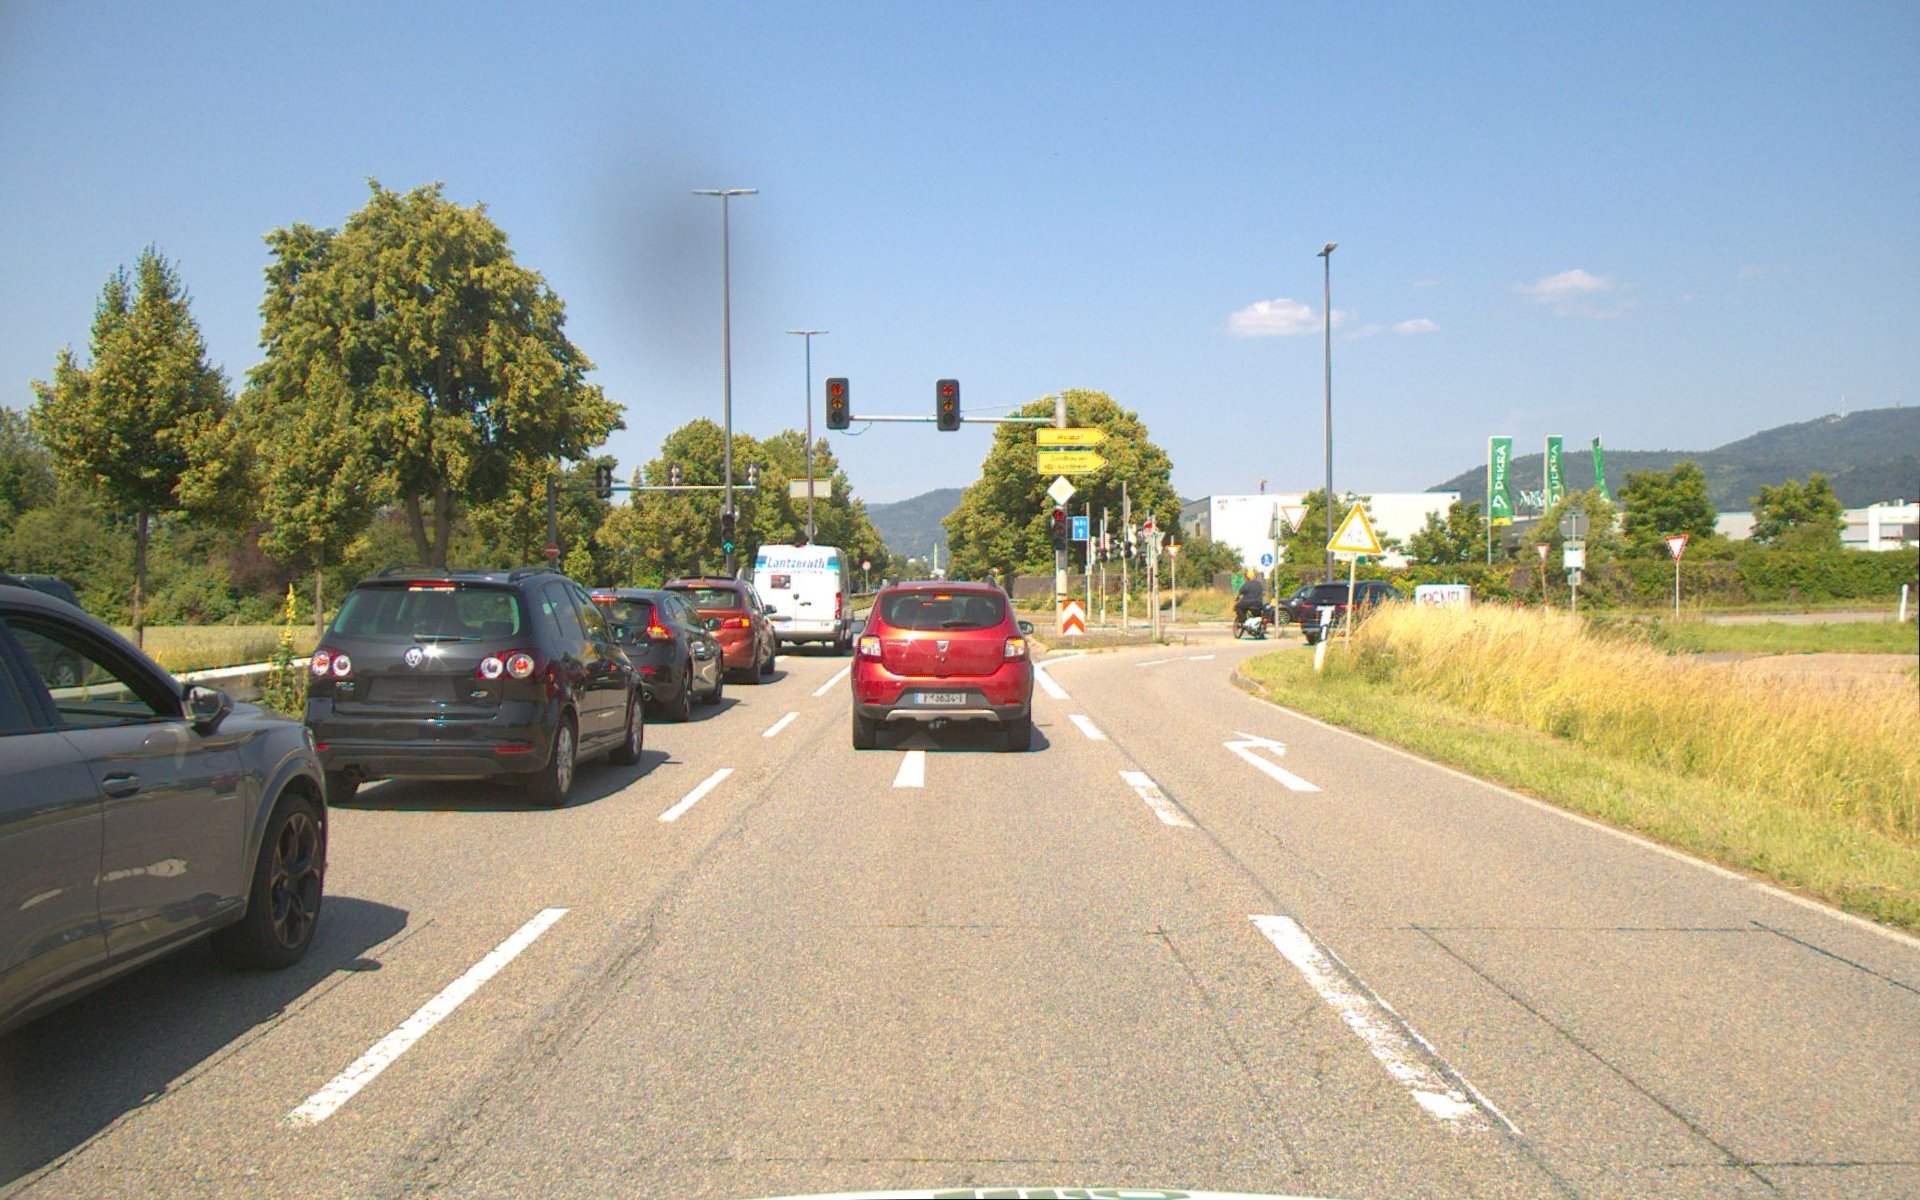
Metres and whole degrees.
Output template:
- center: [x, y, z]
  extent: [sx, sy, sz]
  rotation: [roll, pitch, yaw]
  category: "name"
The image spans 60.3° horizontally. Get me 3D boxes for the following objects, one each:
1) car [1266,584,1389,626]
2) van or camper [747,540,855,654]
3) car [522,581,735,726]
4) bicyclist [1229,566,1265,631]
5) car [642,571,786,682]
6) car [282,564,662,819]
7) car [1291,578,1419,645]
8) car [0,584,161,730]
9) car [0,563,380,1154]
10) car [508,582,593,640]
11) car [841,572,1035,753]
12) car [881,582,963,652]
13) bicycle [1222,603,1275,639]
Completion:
- center: [12.480, 0.163, 56.385]
  extent: [3.902, 1.350, 1.808]
  rotation: [-1, 1, 6]
  category: "car"
- center: [-3.452, -0.079, 36.743]
  extent: [2.135, 2.343, 4.824]
  rotation: [1, 0, -3]
  category: "van or camper"
- center: [-3.744, 0.542, 19.299]
  extent: [1.667, 1.467, 3.955]
  rotation: [1, 1, 0]
  category: "car"
- center: [8.069, -0.054, 46.485]
  extent: [0.786, 1.802, 0.807]
  rotation: [-1, 0, -6]
  category: "bicyclist"
- center: [-3.827, 0.373, 26.290]
  extent: [1.689, 1.628, 3.955]
  rotation: [0, 1, 0]
  category: "car"
- center: [-3.440, 0.552, 12.418]
  extent: [1.688, 1.603, 3.892]
  rotation: [1, 1, 0]
  category: "car"
- center: [10.460, 0.274, 43.633]
  extent: [1.958, 1.645, 4.327]
  rotation: [1, 0, 33]
  category: "car"
- center: [-13.462, 0.737, 23.724]
  extent: [1.820, 1.888, 4.695]
  rotation: [-1, 1, -2]
  category: "car"
- center: [-3.344, 0.651, 4.994]
  extent: [1.710, 1.529, 4.362]
  rotation: [0, 1, -1]
  category: "car"
- center: [-14.847, 0.349, 60.194]
  extent: [1.953, 1.964, 5.014]
  rotation: [-1, 1, -2]
  category: "car"
- center: [-0.167, 0.539, 16.602]
  extent: [1.713, 1.603, 3.677]
  rotation: [1, 0, 1]
  category: "car"
- center: [-0.807, 0.348, 37.426]
  extent: [1.713, 1.483, 3.677]
  rotation: [0, 1, 1]
  category: "car"
- center: [8.096, 0.566, 46.543]
  extent: [0.747, 0.931, 2.776]
  rotation: [-1, 1, -6]
  category: "bicycle"
